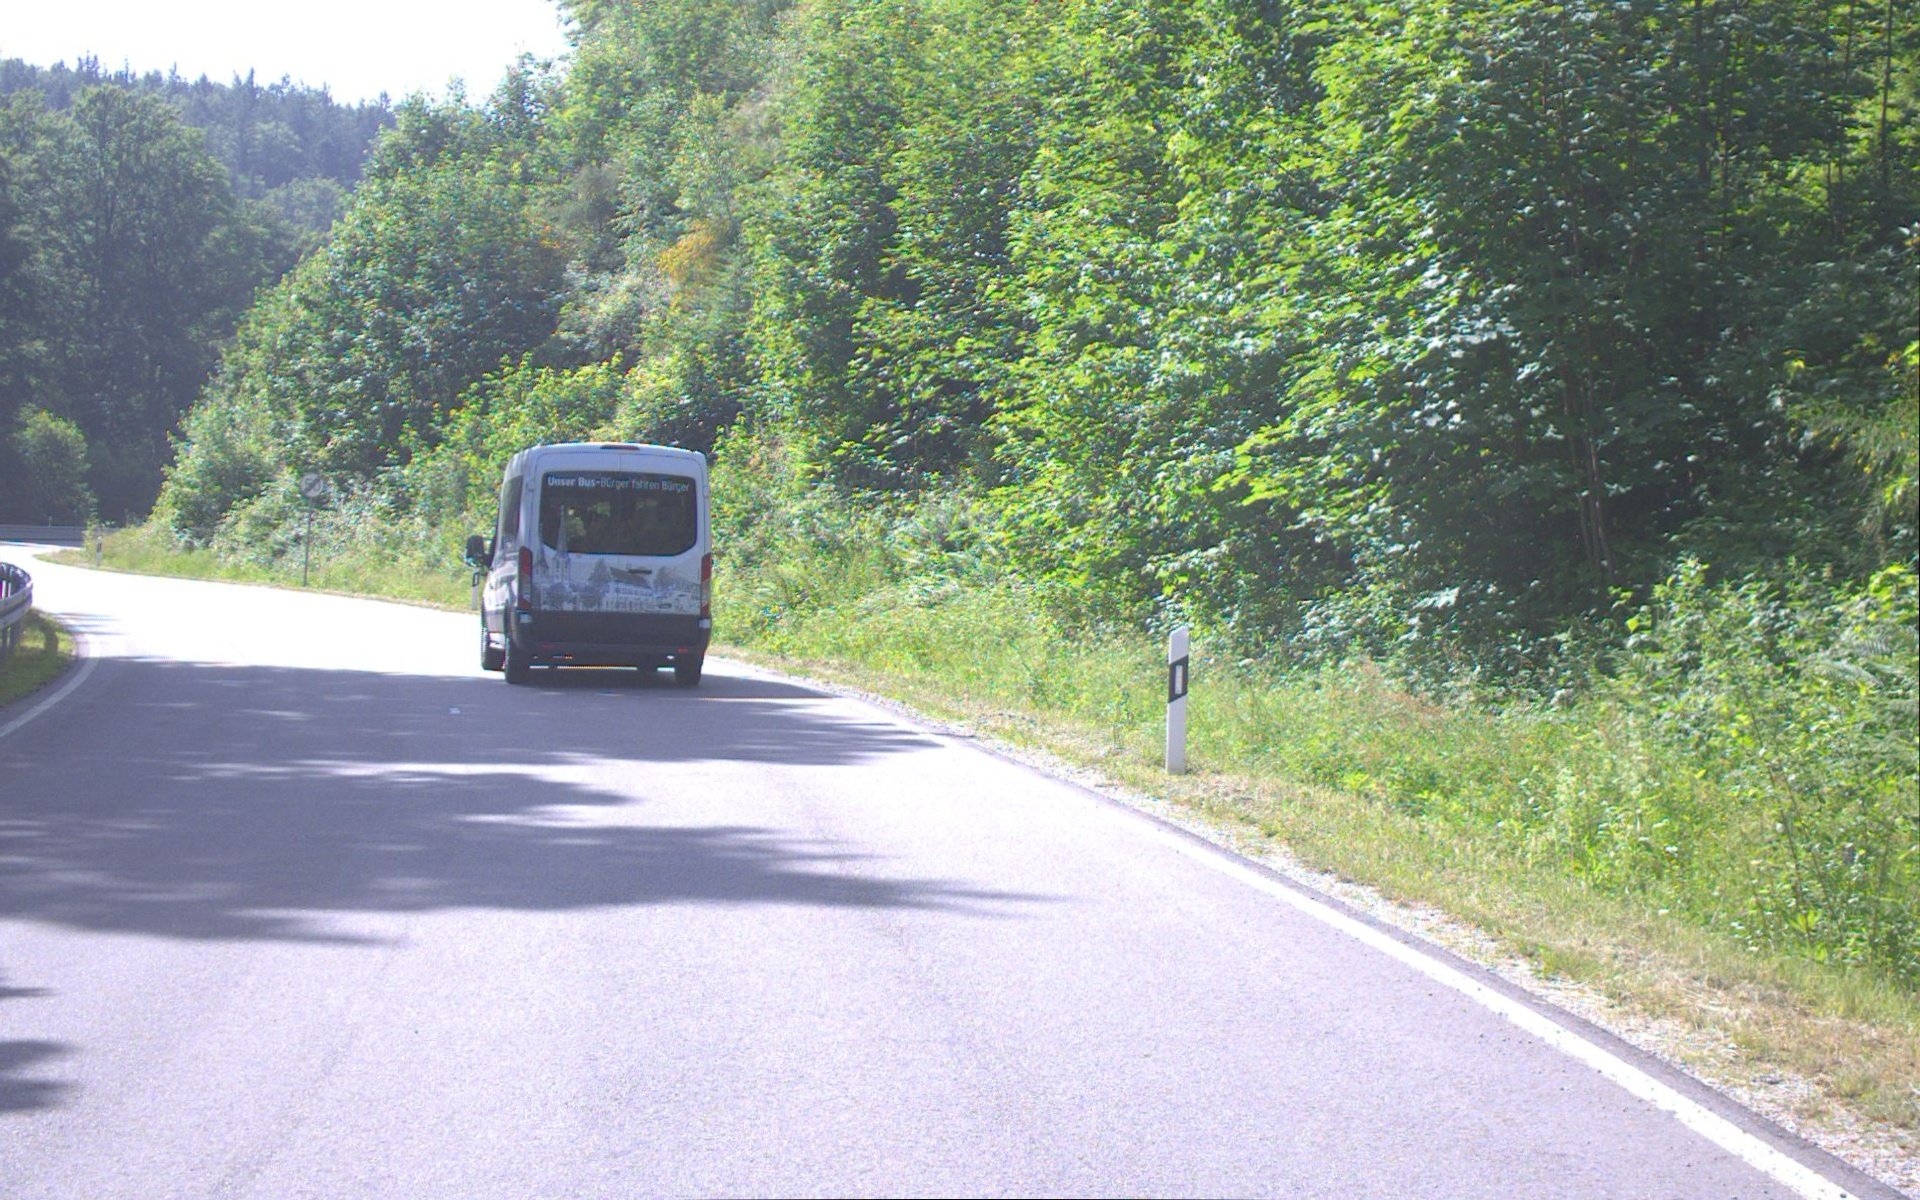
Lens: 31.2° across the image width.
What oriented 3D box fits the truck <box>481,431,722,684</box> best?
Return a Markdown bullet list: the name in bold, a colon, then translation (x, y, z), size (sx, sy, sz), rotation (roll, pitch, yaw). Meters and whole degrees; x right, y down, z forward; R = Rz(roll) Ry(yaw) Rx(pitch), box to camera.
- **truck**: translation (-3.927, -0.475, 36.821), size (2.115, 2.489, 5.361), rotation (1, 1, -11)
